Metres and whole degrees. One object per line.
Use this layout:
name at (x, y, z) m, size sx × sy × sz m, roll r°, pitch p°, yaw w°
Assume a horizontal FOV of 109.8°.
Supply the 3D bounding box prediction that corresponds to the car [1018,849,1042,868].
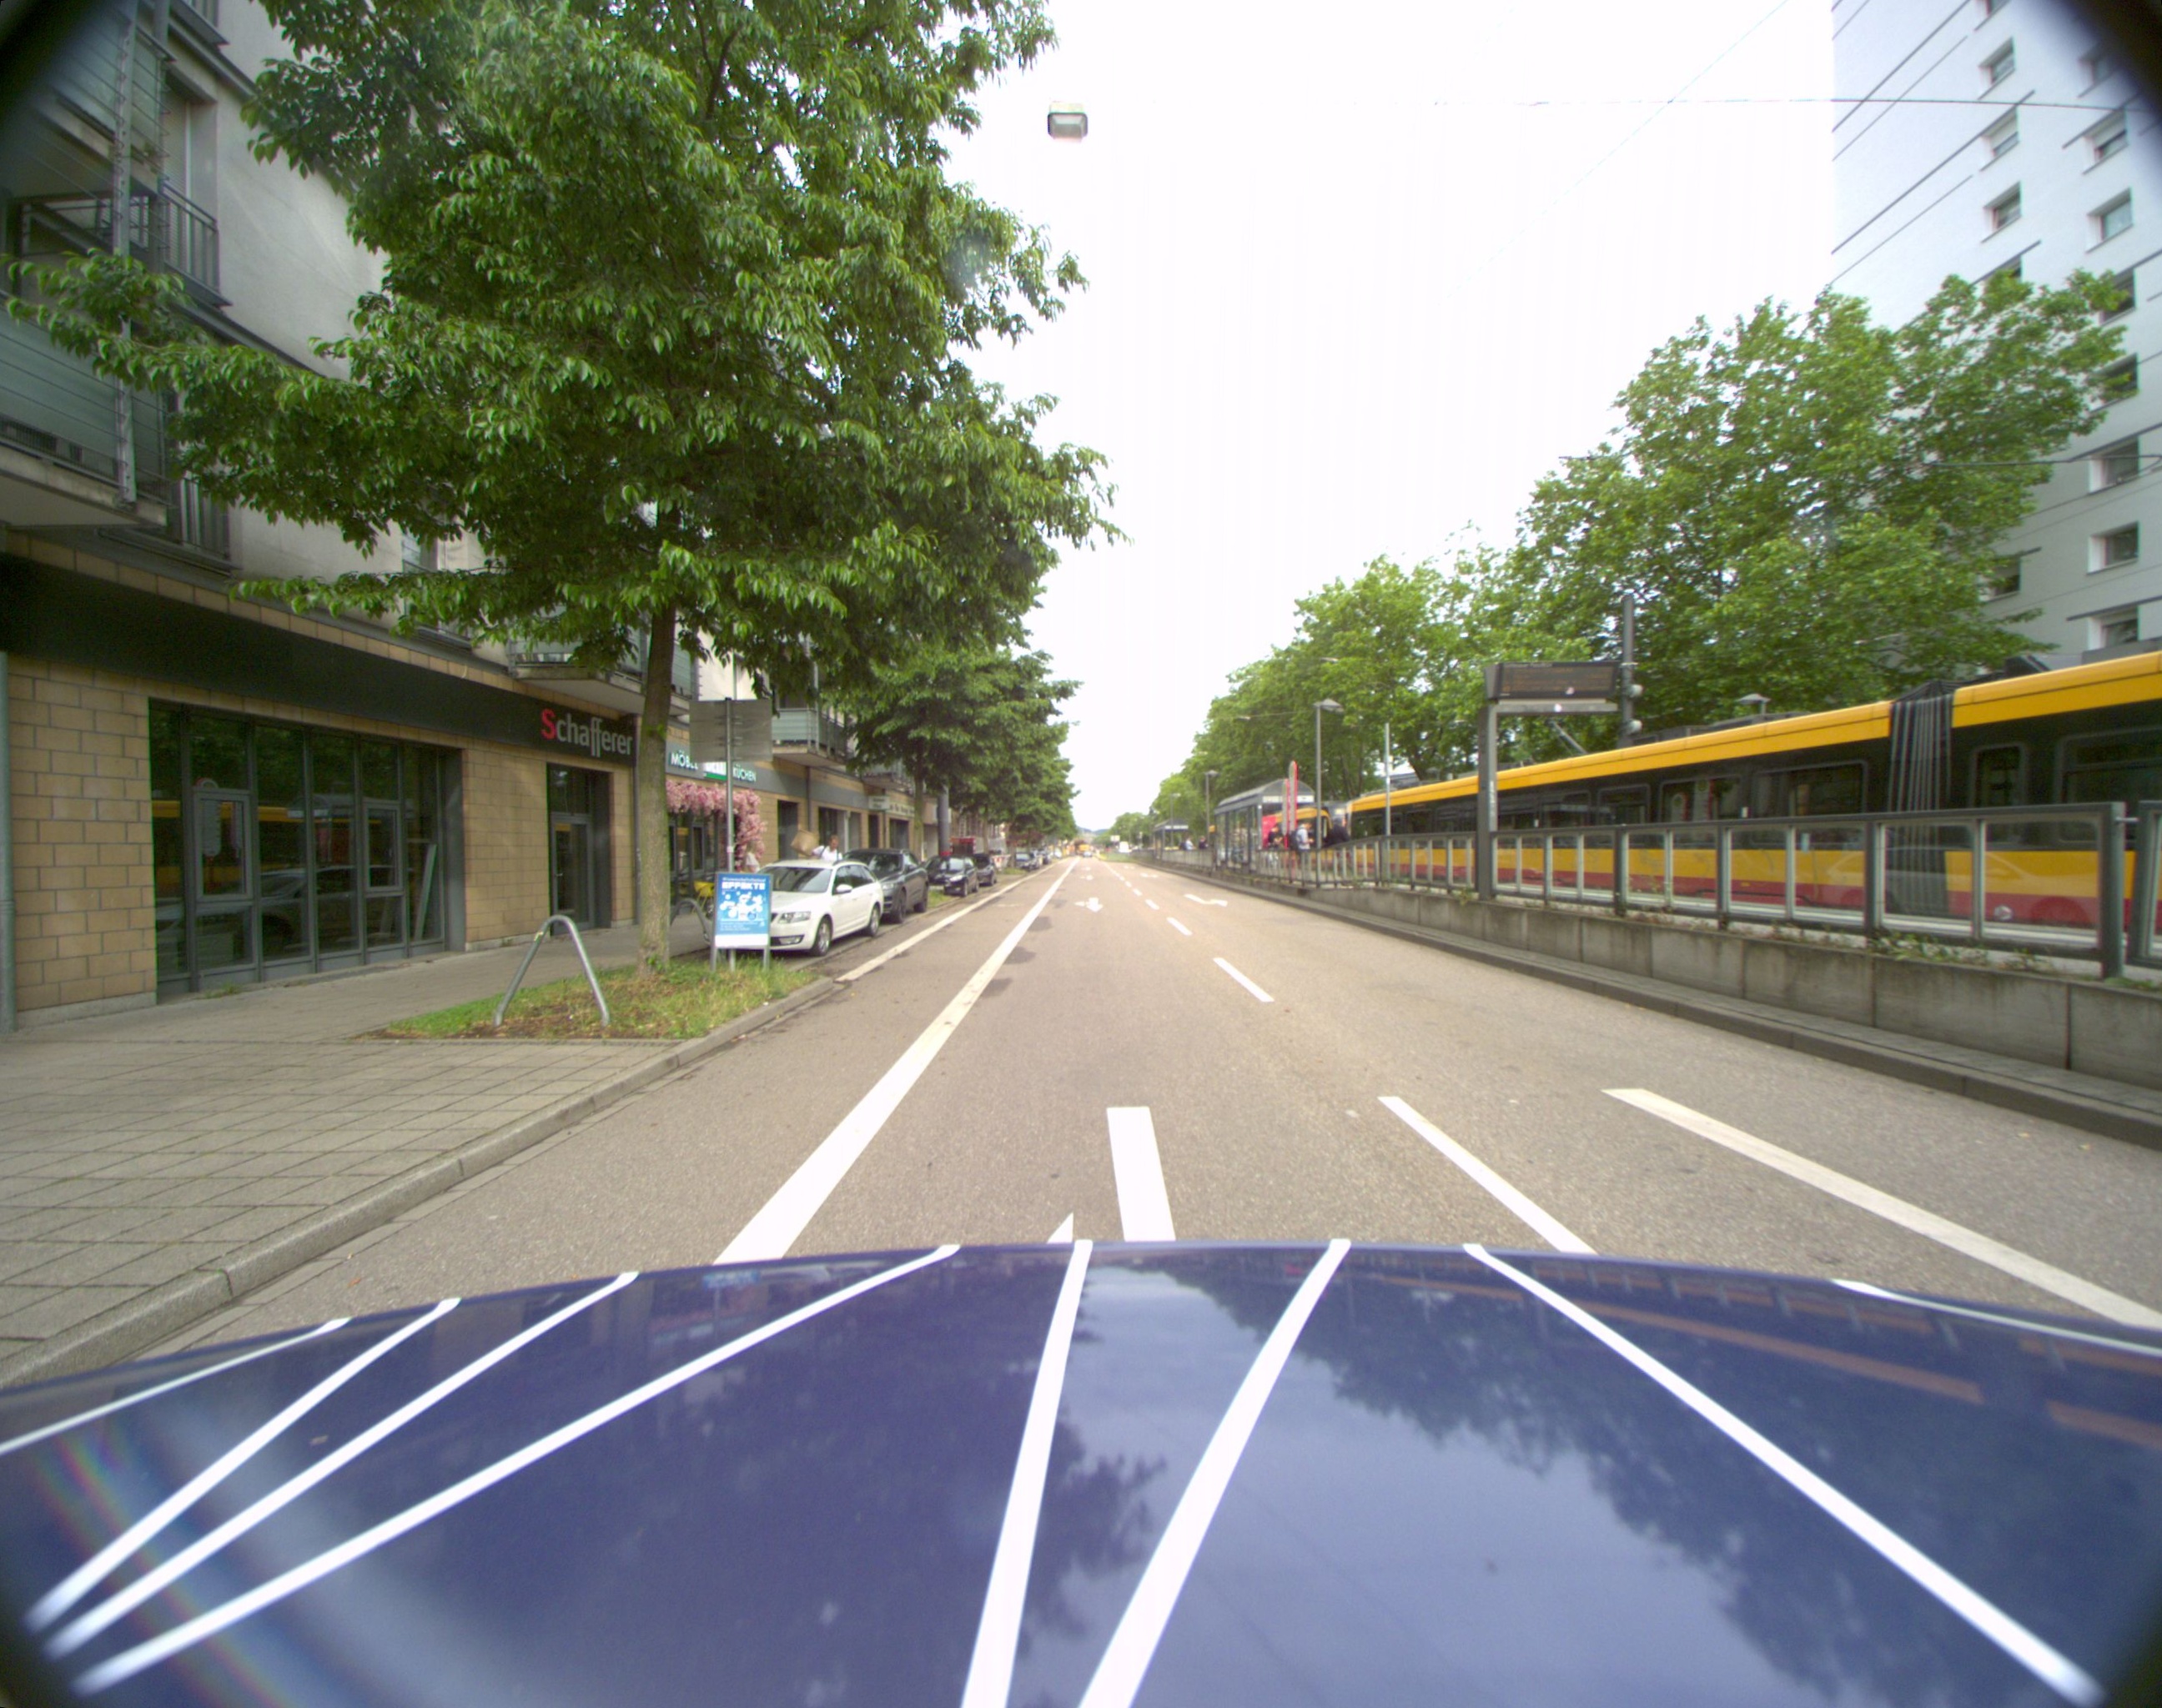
car at (-4.126, 0.359, 62.174) m, size 1.612 × 1.393 × 3.667 m, roll 2°, pitch 1°, yaw 1°

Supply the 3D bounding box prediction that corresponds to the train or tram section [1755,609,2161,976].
train or tram section at (12.615, -0.644, 4.791) m, size 3.338 × 3.731 × 15.201 m, roll -2°, pitch 1°, yaw 1°

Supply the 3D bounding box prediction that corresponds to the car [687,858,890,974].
car at (-4.722, 0.900, 13.010) m, size 1.738 × 1.512 × 4.308 m, roll 2°, pitch 1°, yaw 1°

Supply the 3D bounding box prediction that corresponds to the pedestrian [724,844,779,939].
pedestrian at (-6.130, 0.677, 14.149) m, size 0.616 × 1.707 × 0.740 m, roll 1°, pitch 2°, yaw 41°

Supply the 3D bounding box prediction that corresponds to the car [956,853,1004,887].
car at (-4.559, 0.681, 34.746) m, size 1.612 × 1.393 × 3.667 m, roll 2°, pitch 1°, yaw 1°

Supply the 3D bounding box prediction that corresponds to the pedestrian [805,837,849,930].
pedestrian at (-5.225, 0.599, 15.687) m, size 0.656 × 1.873 × 0.599 m, roll -1°, pitch 1°, yaw 1°

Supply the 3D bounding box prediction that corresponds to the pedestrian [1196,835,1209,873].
pedestrian at (5.845, -0.006, 36.532) m, size 0.530 × 1.794 × 0.606 m, roll -2°, pitch 1°, yaw 14°

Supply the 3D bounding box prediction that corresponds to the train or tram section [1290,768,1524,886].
train or tram section at (12.971, -0.979, 33.143) m, size 3.338 × 3.731 × 16.247 m, roll -2°, pitch 1°, yaw 1°

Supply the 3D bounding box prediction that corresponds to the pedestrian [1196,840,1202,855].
pedestrian at (16.085, -0.889, 103.549) m, size 0.719 × 2.002 × 0.756 m, roll -1°, pitch 1°, yaw 1°

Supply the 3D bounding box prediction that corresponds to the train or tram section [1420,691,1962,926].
train or tram section at (12.805, -0.809, 18.720) m, size 3.338 × 3.731 × 12.547 m, roll -2°, pitch 1°, yaw 1°

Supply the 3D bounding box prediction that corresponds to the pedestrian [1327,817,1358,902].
pedestrian at (5.703, 0.116, 16.588) m, size 0.521 × 1.794 × 0.605 m, roll -2°, pitch 1°, yaw 13°

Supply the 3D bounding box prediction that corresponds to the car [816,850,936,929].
car at (-4.719, 0.740, 18.013) m, size 1.738 × 1.601 × 3.798 m, roll 2°, pitch 1°, yaw 1°

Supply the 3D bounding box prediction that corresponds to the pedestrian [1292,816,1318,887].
pedestrian at (5.751, -0.068, 19.556) m, size 0.475 × 1.794 × 0.605 m, roll -2°, pitch 1°, yaw 5°

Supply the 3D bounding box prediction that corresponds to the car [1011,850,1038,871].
car at (-4.166, 0.474, 56.278) m, size 1.612 × 1.393 × 3.667 m, roll 2°, pitch 1°, yaw 1°

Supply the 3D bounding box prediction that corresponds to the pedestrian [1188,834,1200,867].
pedestrian at (6.138, -0.184, 41.349) m, size 0.530 × 1.794 × 0.606 m, roll -2°, pitch 1°, yaw 14°

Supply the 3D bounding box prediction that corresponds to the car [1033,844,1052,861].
car at (-3.965, -0.148, 78.230) m, size 1.612 × 1.674 × 3.806 m, roll 2°, pitch 1°, yaw 1°

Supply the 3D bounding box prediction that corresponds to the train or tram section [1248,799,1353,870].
train or tram section at (13.147, -1.141, 46.823) m, size 3.338 × 3.731 × 11.042 m, roll -2°, pitch 1°, yaw 1°

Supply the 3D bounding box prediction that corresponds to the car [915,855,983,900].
car at (-4.640, 0.792, 27.285) m, size 1.612 × 1.370 × 4.167 m, roll 2°, pitch 1°, yaw 1°

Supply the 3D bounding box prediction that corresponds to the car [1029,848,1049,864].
car at (-3.971, 0.202, 72.460) m, size 1.612 × 1.393 × 3.667 m, roll 2°, pitch 1°, yaw 1°

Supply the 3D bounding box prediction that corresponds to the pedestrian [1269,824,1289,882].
pedestrian at (6.310, -0.032, 24.208) m, size 0.474 × 1.794 × 0.606 m, roll -2°, pitch 1°, yaw 26°

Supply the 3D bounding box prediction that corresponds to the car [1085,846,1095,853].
car at (1.777, -0.870, 149.025) m, size 1.716 × 1.379 × 4.099 m, roll -2°, pitch 1°, yaw 1°
